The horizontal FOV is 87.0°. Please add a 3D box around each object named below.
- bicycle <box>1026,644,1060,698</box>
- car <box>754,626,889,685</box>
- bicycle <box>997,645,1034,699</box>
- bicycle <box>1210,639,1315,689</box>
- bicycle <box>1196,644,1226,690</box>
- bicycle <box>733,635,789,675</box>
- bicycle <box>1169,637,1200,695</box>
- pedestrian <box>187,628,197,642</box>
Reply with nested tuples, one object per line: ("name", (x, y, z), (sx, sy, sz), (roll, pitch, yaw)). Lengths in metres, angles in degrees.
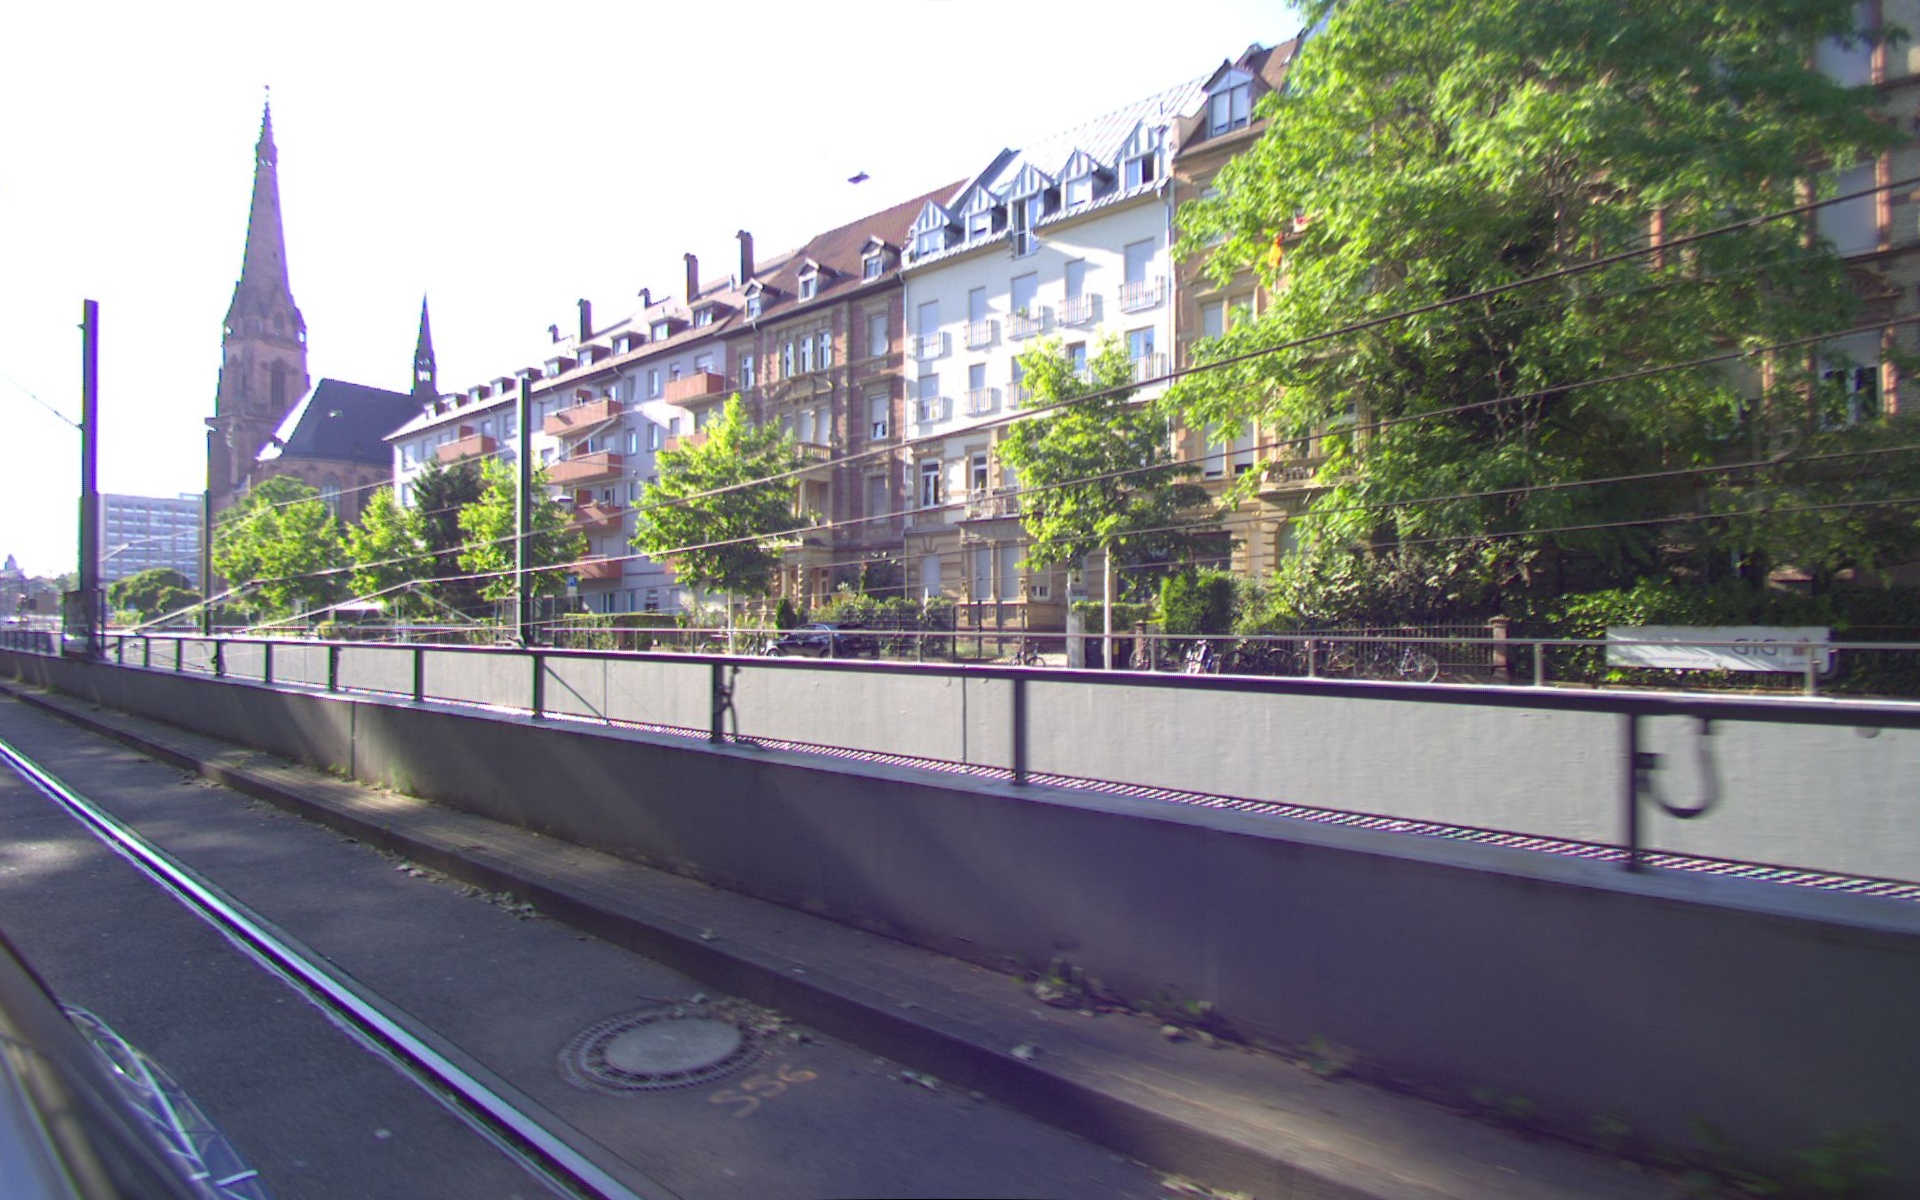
("bicycle", (2.100, 1.744, 25.315), (0.635, 1.107, 2.779), (-2, 0, 9))
("car", (-4.236, 1.635, 30.779), (3.996, 1.597, 1.814), (-2, 0, 40))
("bicycle", (1.417, 1.768, 25.389), (0.635, 1.107, 2.779), (-2, 0, 9))
("bicycle", (7.192, 1.505, 24.187), (2.375, 1.107, 0.549), (-2, 0, 42))
("bicycle", (5.549, 1.478, 22.401), (0.533, 0.912, 1.264), (-2, 0, 11))
("bicycle", (-6.545, 1.788, 33.427), (0.562, 1.187, 1.788), (-2, 0, 44))
("bicycle", (5.025, 1.457, 22.737), (0.551, 1.107, 2.368), (-2, 0, 11))
("pedestrian", (-85.480, 3.883, 112.639), (0.945, 1.500, 0.580), (-2, 0, 38))
